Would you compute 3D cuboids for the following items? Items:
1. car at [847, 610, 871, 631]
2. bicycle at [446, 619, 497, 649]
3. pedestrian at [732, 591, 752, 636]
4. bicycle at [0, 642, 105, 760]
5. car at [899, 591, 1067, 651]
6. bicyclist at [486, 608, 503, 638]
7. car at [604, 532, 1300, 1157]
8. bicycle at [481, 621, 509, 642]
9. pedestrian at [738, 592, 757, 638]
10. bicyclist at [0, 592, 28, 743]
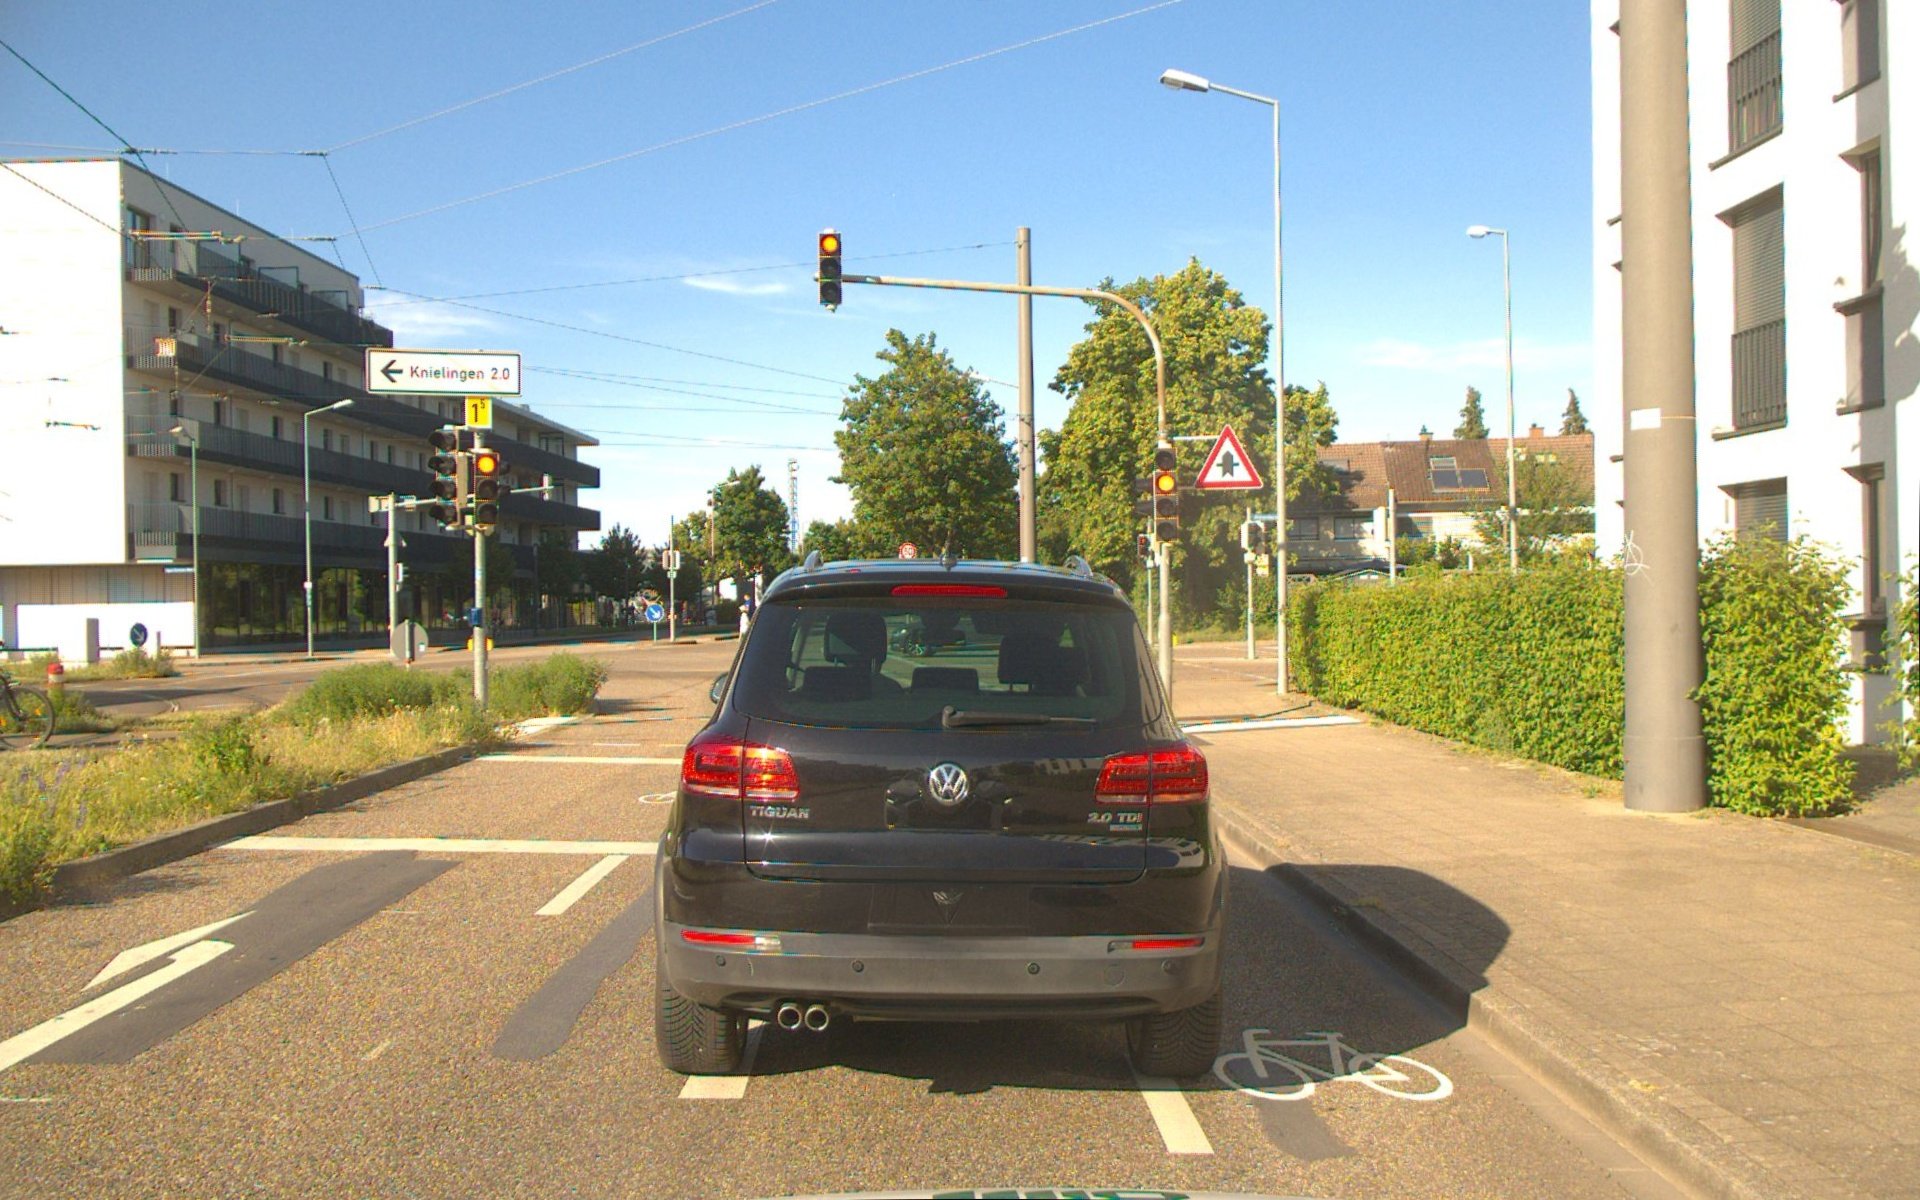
[{"bbox_3d":[-8.297,1.684,136.369,1.621,1.668,4.001,0,0,1],"label":"car"},{"bbox_3d":[-18.920,1.306,64.103,0.947,1.104,1.834,0,0,23],"label":"bicycle"},{"bbox_3d":[-7.767,0.468,59.001,0.590,1.592,0.529,0,0,4],"label":"pedestrian"},{"bbox_3d":[-11.488,1.045,18.156,3.609,1.195,0.999,2,0,-2],"label":"bicycle"},{"bbox_3d":[0.664,0.554,44.560,4.403,1.530,2.001,0,0,3],"label":"car"},{"bbox_3d":[-19.897,0.987,70.736,0.464,1.245,0.713,0,0,3],"label":"bicyclist"},{"bbox_3d":[-0.083,0.653,6.465,1.867,1.671,3.998,0,0,-2],"label":"car"},{"bbox_3d":[-19.901,1.354,70.836,0.485,0.863,2.079,0,0,3],"label":"bicycle"},{"bbox_3d":[-7.671,0.544,59.795,0.590,1.668,0.529,0,0,4],"label":"pedestrian"},{"bbox_3d":[-10.977,0.736,18.193,0.891,1.658,0.975,0,0,-3],"label":"bicyclist"}]
